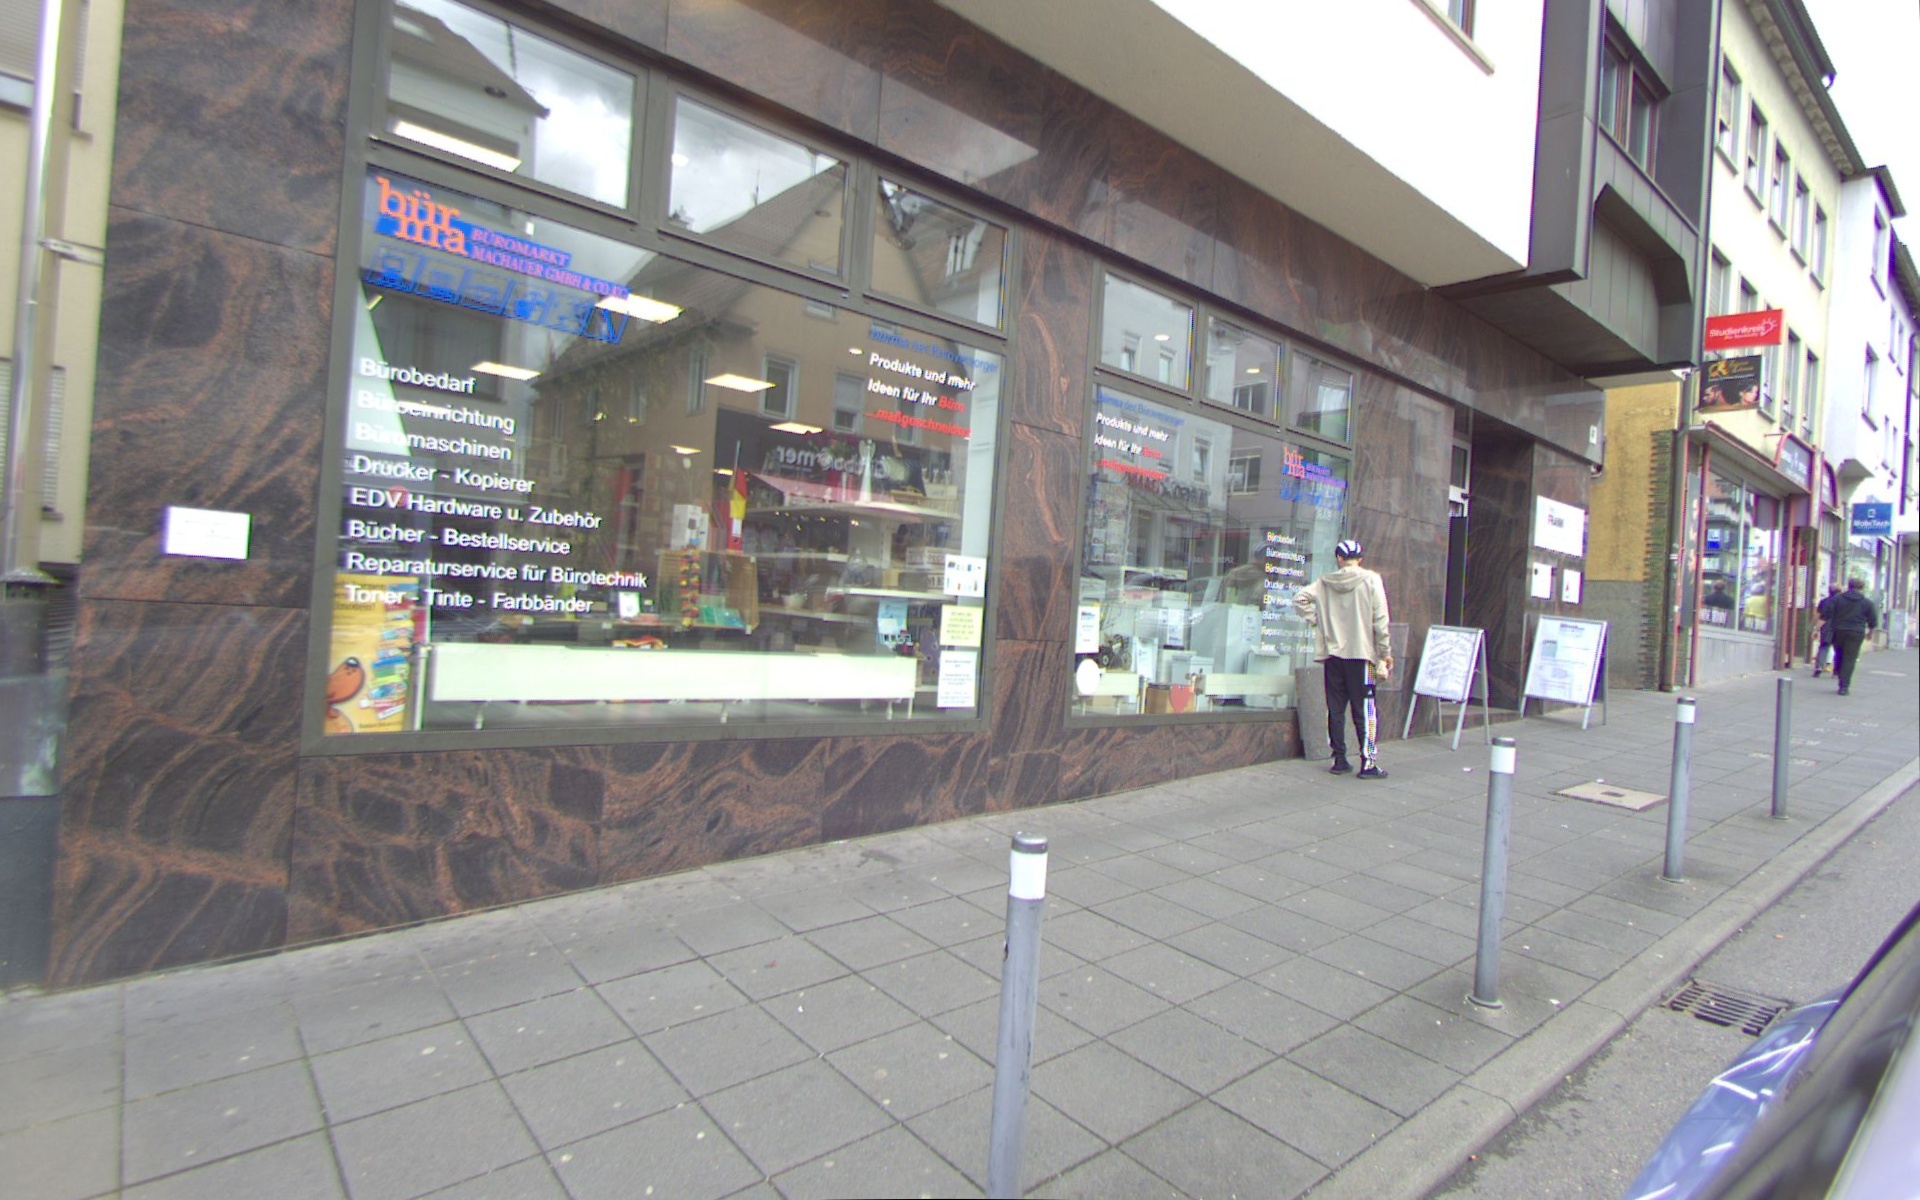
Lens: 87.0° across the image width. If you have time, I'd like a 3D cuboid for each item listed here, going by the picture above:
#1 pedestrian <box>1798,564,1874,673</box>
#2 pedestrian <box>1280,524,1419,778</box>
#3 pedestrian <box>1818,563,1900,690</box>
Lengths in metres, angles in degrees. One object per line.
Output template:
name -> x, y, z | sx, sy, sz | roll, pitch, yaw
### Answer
pedestrian -> 15.082, 0.307, 17.427 | 0.771, 1.773, 0.713 | 1, 5, -40
pedestrian -> 2.818, 0.336, 7.333 | 0.663, 1.709, 0.535 | 7, 4, 44
pedestrian -> 13.246, 0.367, 14.916 | 0.773, 1.774, 0.713 | 1, 3, -40
